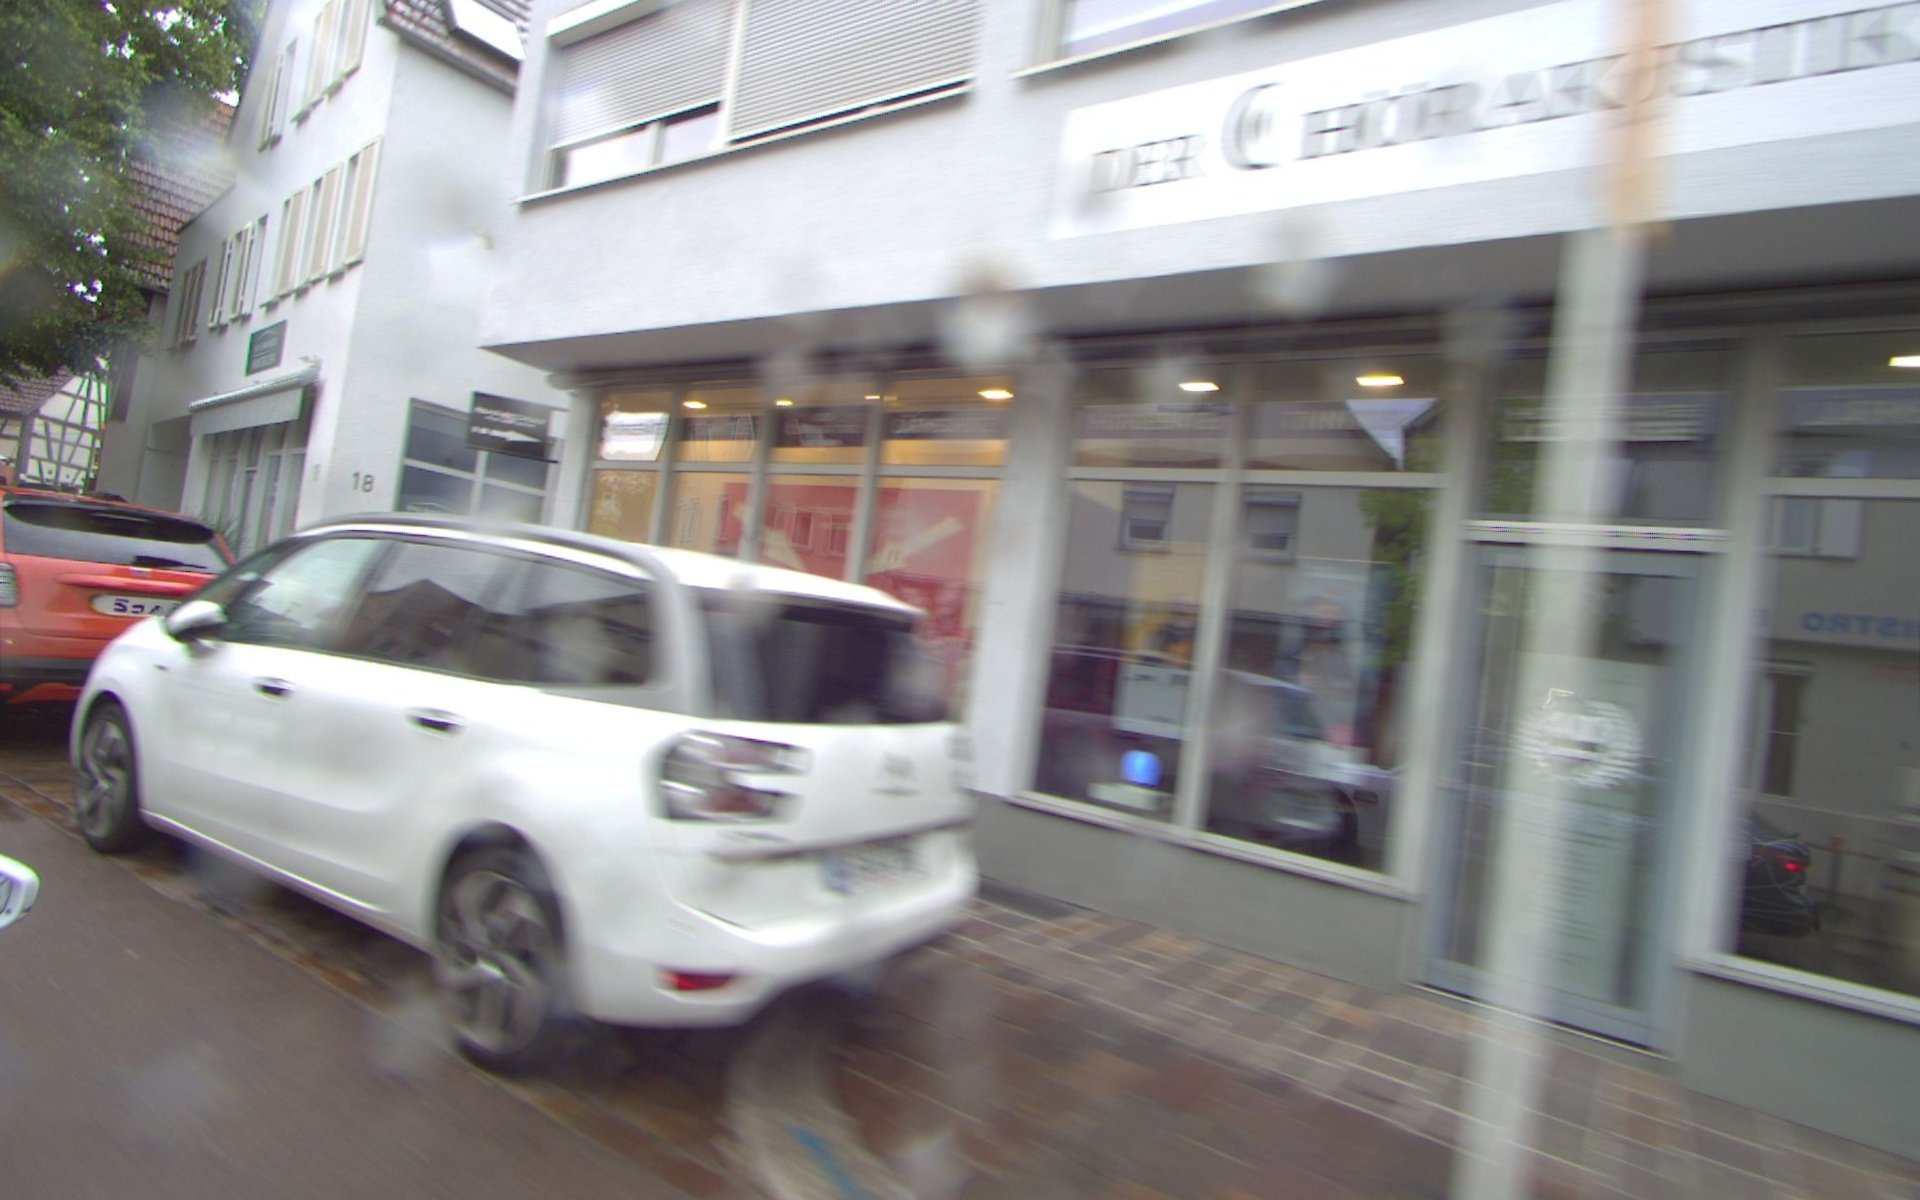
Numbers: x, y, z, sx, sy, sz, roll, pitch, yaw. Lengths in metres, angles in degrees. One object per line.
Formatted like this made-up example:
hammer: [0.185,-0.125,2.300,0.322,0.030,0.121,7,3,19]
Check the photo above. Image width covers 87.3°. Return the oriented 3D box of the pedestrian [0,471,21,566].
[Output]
pedestrian: [-18.160,-1.555,18.672,0.907,1.718,0.851,8,-2,-43]

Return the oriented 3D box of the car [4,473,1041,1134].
car: [-2.074,0.473,4.409,4.366,1.616,1.793,5,-4,31]

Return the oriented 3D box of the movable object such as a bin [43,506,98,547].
movable object such as a bin: [-29.024,-2.400,32.843,0.842,1.123,0.880,7,-3,-3]

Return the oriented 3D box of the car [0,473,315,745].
car: [-6.628,0.001,7.160,3.885,1.484,1.792,5,-4,32]

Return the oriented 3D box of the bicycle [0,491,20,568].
bicycle: [-18.274,-1.382,18.765,0.922,1.366,2.189,8,-2,-42]

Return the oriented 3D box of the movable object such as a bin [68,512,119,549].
movable object such as a bin: [-29.075,-2.334,33.760,0.842,1.033,0.831,7,-3,-3]

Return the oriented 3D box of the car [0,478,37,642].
car: [-11.310,-0.660,10.189,3.884,1.573,1.791,7,-2,32]

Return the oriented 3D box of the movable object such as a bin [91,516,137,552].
movable object such as a bin: [-29.135,-2.264,34.637,0.842,1.037,0.698,7,-3,-3]

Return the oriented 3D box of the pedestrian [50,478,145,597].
pedestrian: [-13.975,-0.996,16.303,0.878,1.731,0.884,4,-4,43]
